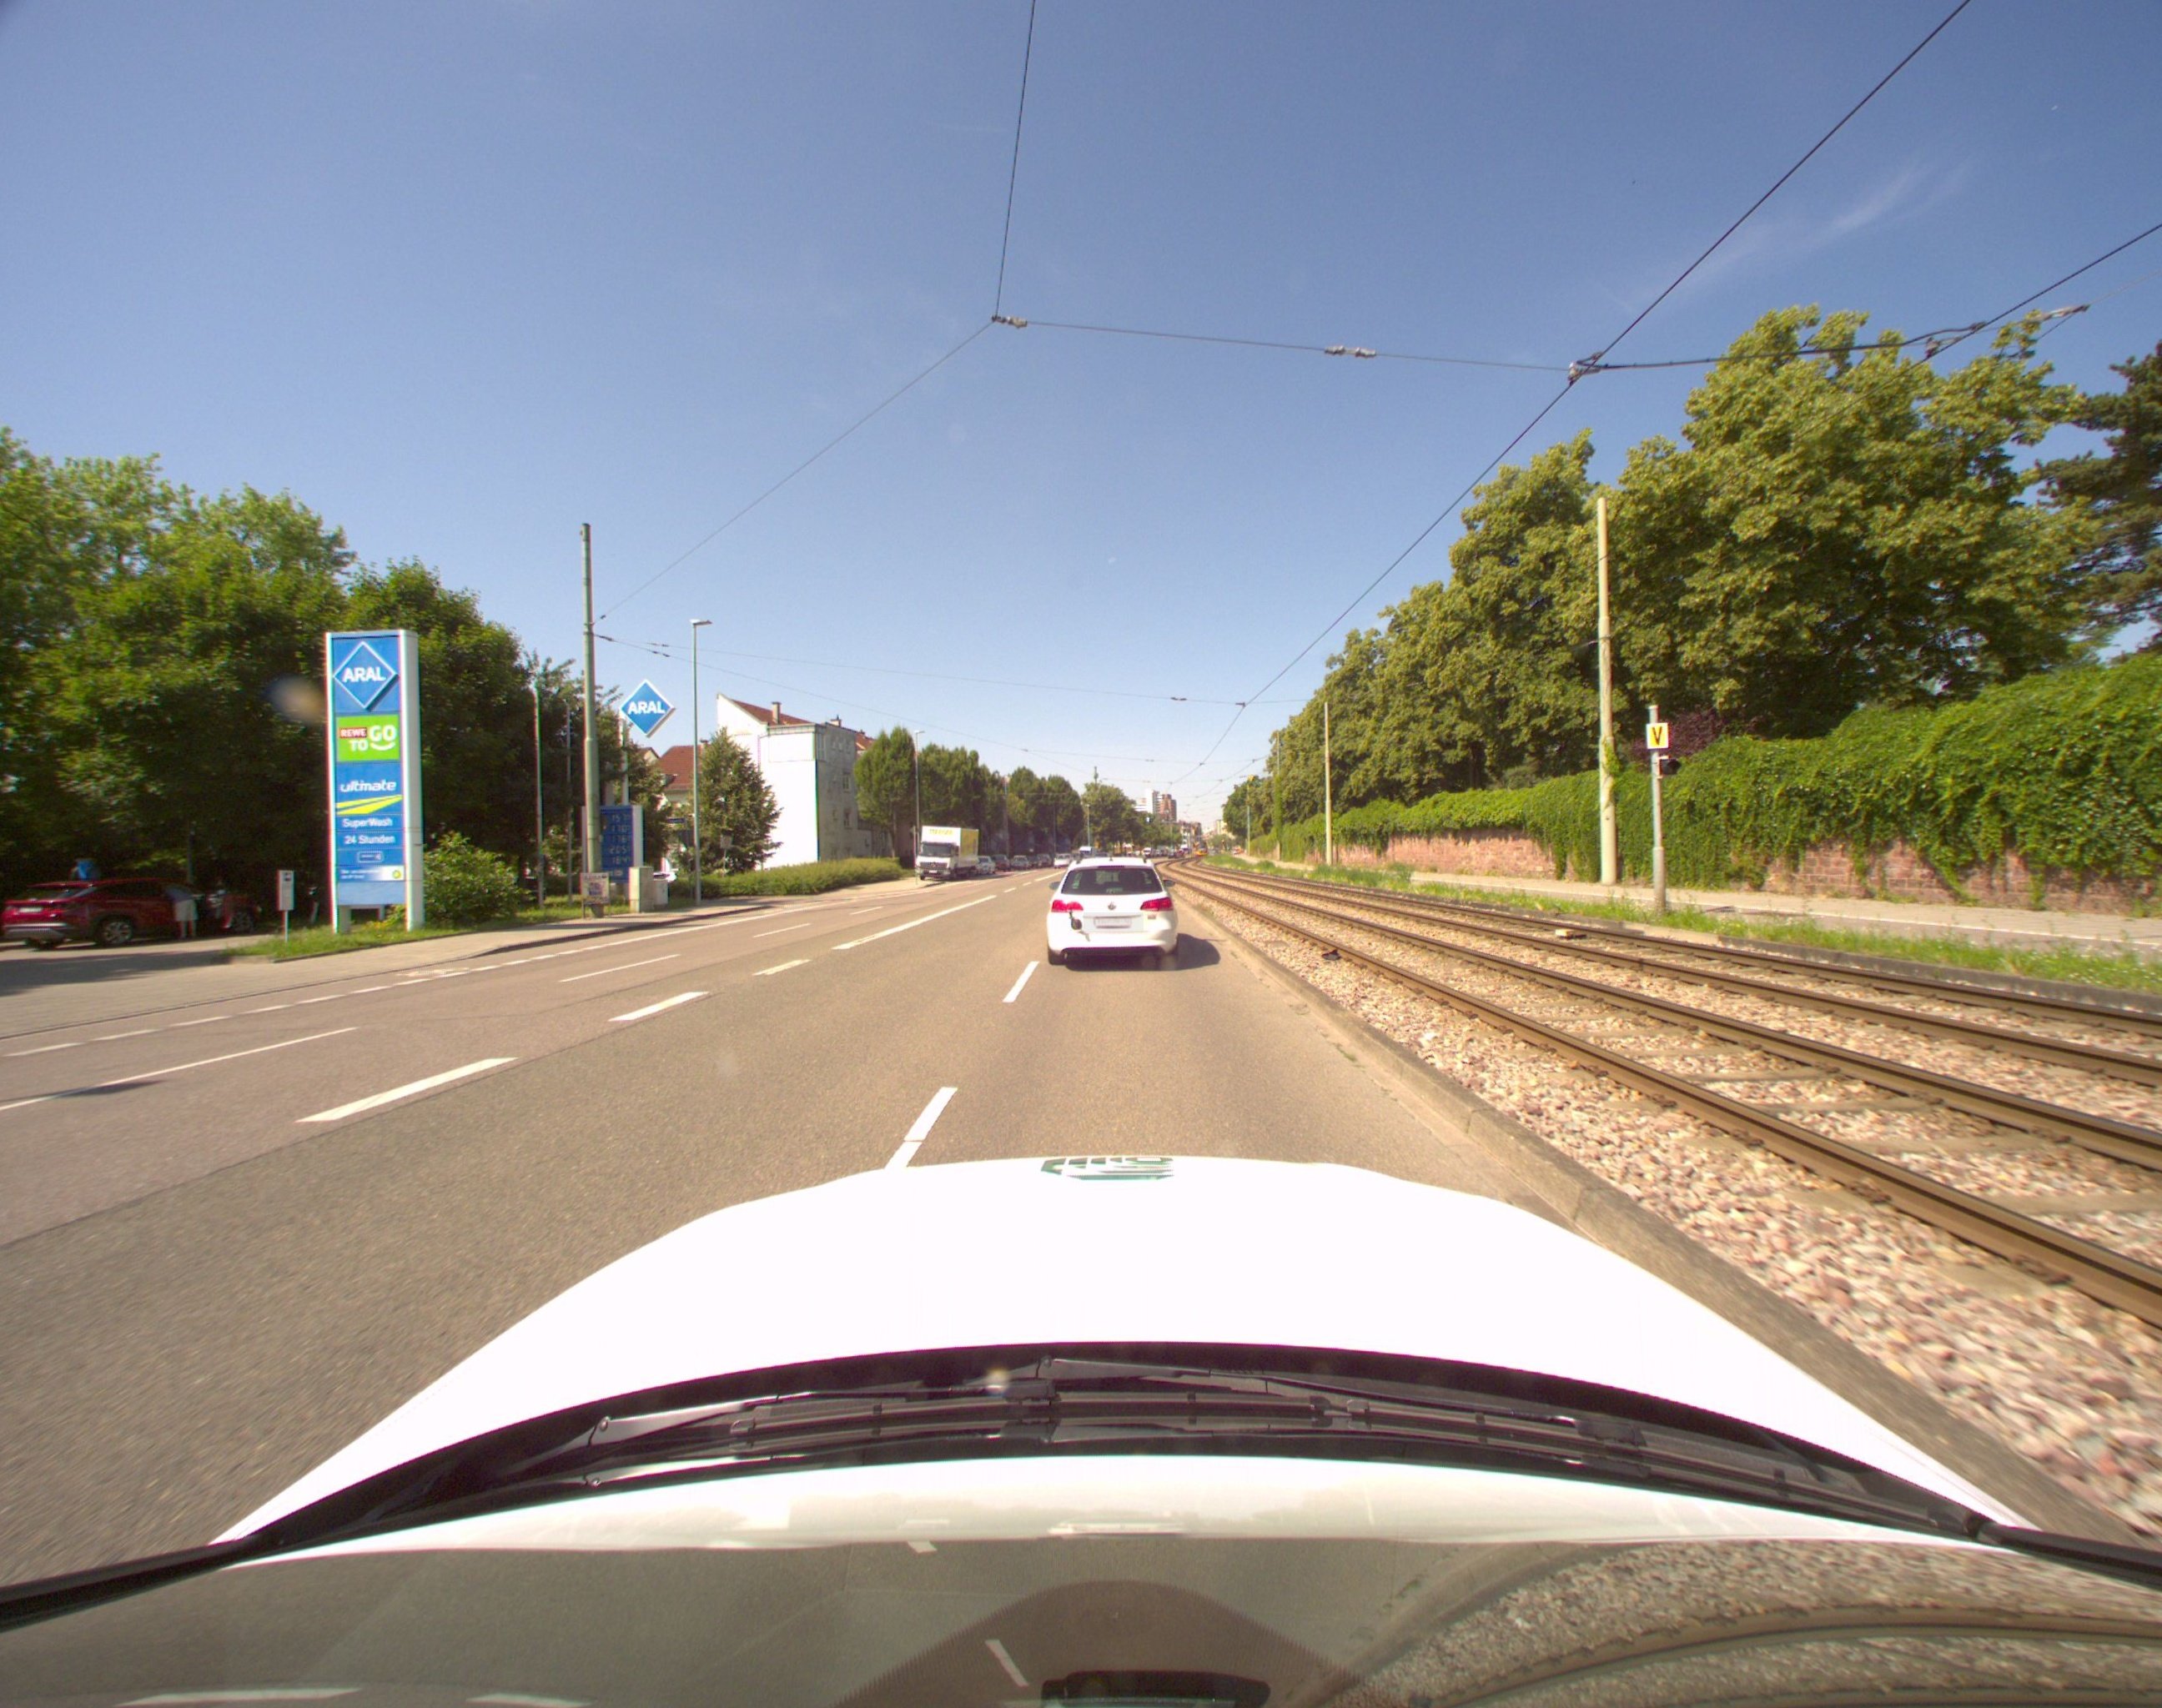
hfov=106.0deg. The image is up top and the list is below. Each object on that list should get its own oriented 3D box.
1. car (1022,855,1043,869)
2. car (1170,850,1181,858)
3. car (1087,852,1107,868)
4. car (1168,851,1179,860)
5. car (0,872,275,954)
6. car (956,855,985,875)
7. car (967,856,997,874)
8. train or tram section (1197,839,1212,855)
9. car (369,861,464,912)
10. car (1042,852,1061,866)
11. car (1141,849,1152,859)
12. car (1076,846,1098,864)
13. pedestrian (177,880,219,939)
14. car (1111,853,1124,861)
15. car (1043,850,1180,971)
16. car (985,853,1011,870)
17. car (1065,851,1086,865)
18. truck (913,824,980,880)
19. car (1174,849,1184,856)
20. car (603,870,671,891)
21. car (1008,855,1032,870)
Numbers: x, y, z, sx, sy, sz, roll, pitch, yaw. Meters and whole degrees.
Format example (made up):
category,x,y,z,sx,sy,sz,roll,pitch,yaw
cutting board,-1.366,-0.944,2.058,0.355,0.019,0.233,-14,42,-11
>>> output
category,x,y,z,sx,sy,sz,roll,pitch,yaw
car,-5.475,0.885,92.583,1.714,1.474,4.723,0,0,6
car,18.676,0.017,160.843,1.789,1.460,4.012,0,0,11
car,1.731,0.631,86.704,1.791,1.507,4.008,-1,1,7
car,17.617,0.280,154.322,1.789,1.507,4.012,0,0,11
car,-23.663,1.391,20.638,1.792,1.569,4.521,-2,2,3
car,-8.438,0.805,62.456,1.603,1.484,3.637,0,0,1
car,-8.143,0.867,67.254,1.750,1.429,4.285,0,0,3
train or tram section,30.711,-1.640,202.254,2.494,3.747,13.359,-2,0,13
car,-35.407,1.701,43.422,4.141,2.538,1.796,-2,0,16
car,-3.734,0.596,104.007,1.760,1.723,4.879,0,0,6
car,16.433,0.042,204.490,1.866,2.415,5.136,-2,0,15
car,1.003,0.129,128.323,1.981,2.714,7.181,1,0,12
pedestrian,-22.872,1.434,21.100,0.496,1.481,0.500,-2,0,3
car,7.096,0.622,158.121,1.687,1.417,4.016,-2,0,15
car,0.425,0.696,12.339,1.685,1.451,4.459,0,1,1
car,-7.649,0.675,75.288,1.723,1.552,4.323,0,0,4
car,-0.796,0.548,120.087,1.907,1.948,5.371,1,0,11
truck,-8.950,-0.144,55.175,2.655,3.530,8.598,0,0,3
car,20.205,-0.285,167.613,1.789,1.460,4.012,-2,0,11
car,-28.510,1.704,52.342,3.625,1.205,1.581,-2,0,13
car,-6.442,0.908,86.092,1.772,1.483,4.863,0,0,4
